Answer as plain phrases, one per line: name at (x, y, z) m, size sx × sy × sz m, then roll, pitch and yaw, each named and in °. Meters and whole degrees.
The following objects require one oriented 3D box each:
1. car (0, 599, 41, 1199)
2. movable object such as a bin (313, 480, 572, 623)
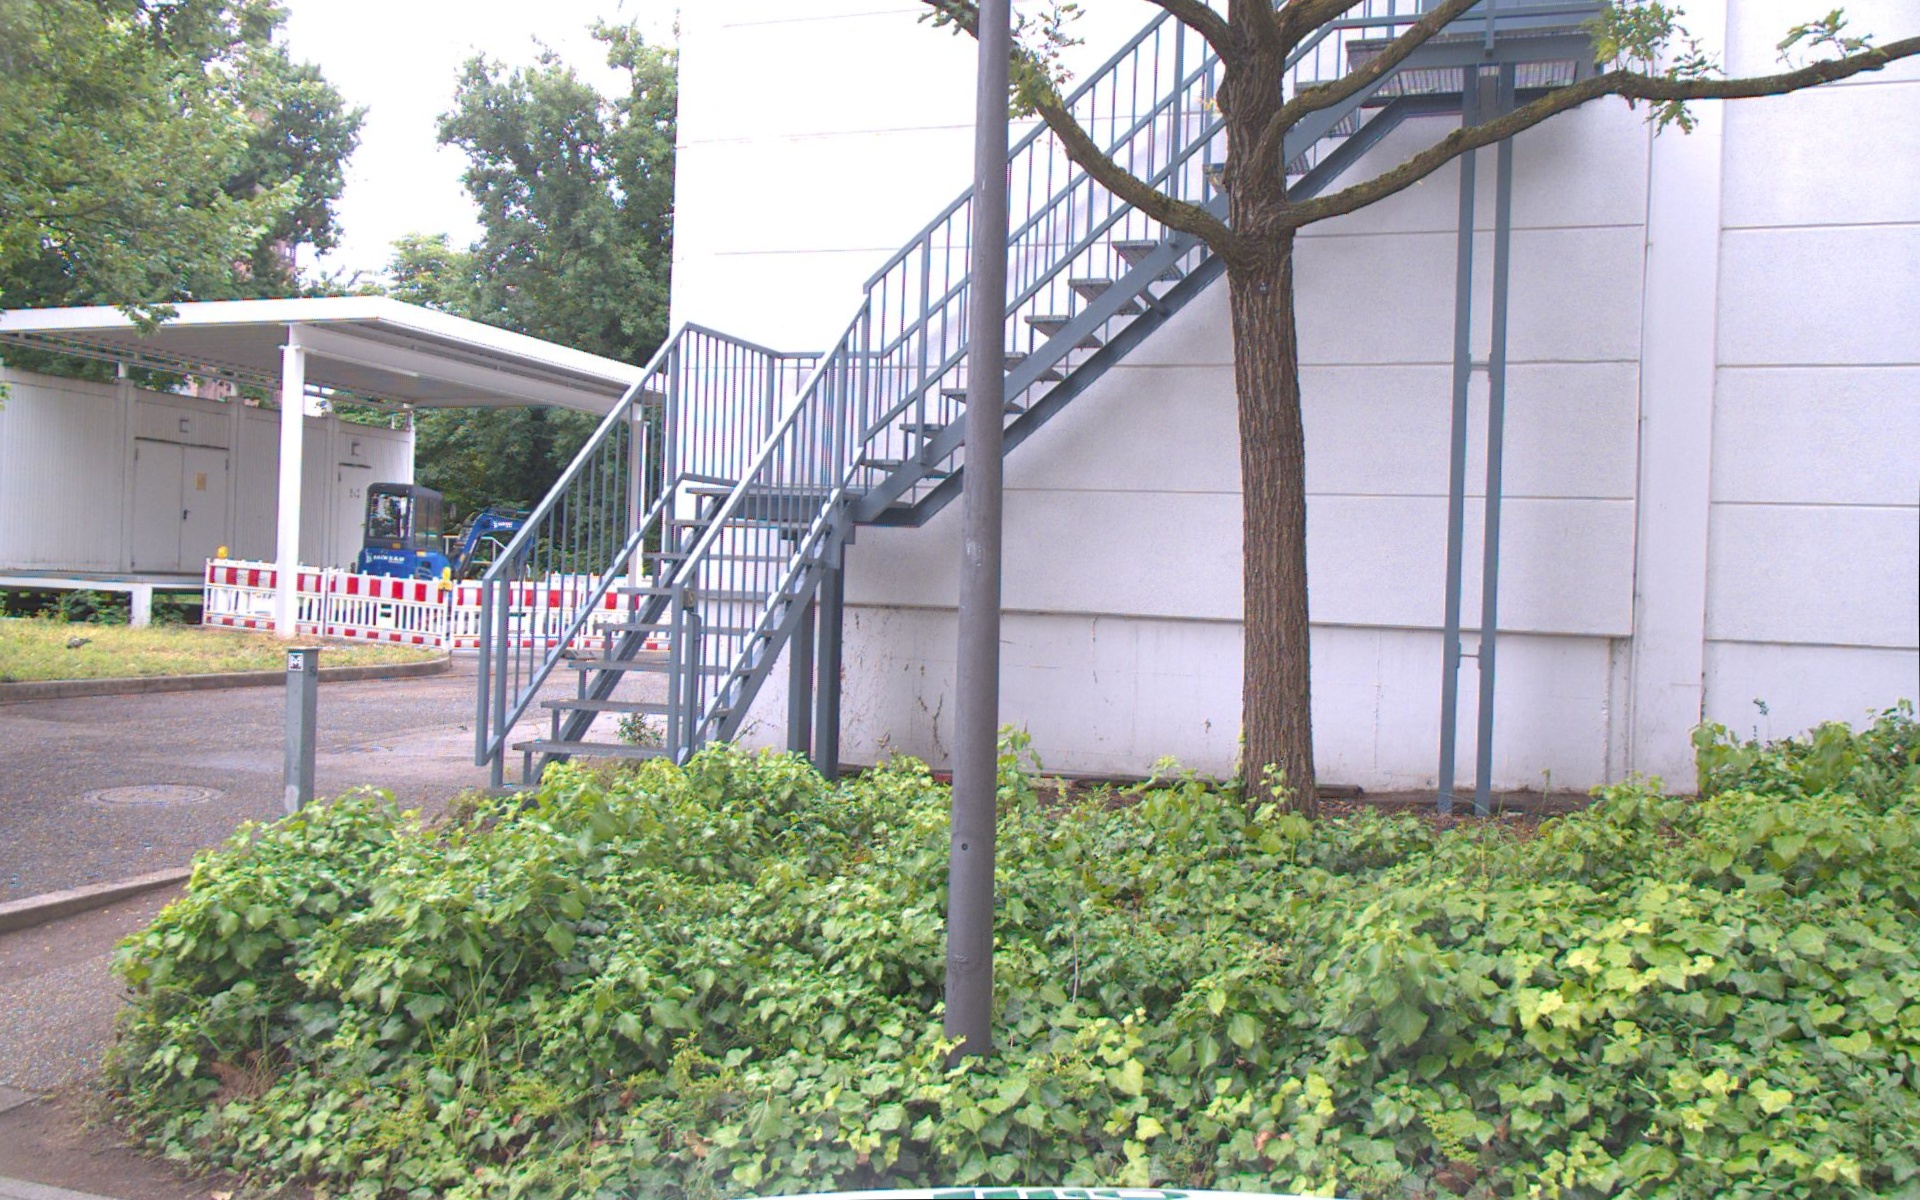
car at (-3.858, 0.657, 2.634) m, size 4.092 × 1.413 × 1.825 m, roll 2°, pitch 1°, yaw 16°
movable object such as a bin at (-8.721, -0.743, 28.359) m, size 1.951 × 2.209 × 4.673 m, roll 2°, pitch -1°, yaw 15°
